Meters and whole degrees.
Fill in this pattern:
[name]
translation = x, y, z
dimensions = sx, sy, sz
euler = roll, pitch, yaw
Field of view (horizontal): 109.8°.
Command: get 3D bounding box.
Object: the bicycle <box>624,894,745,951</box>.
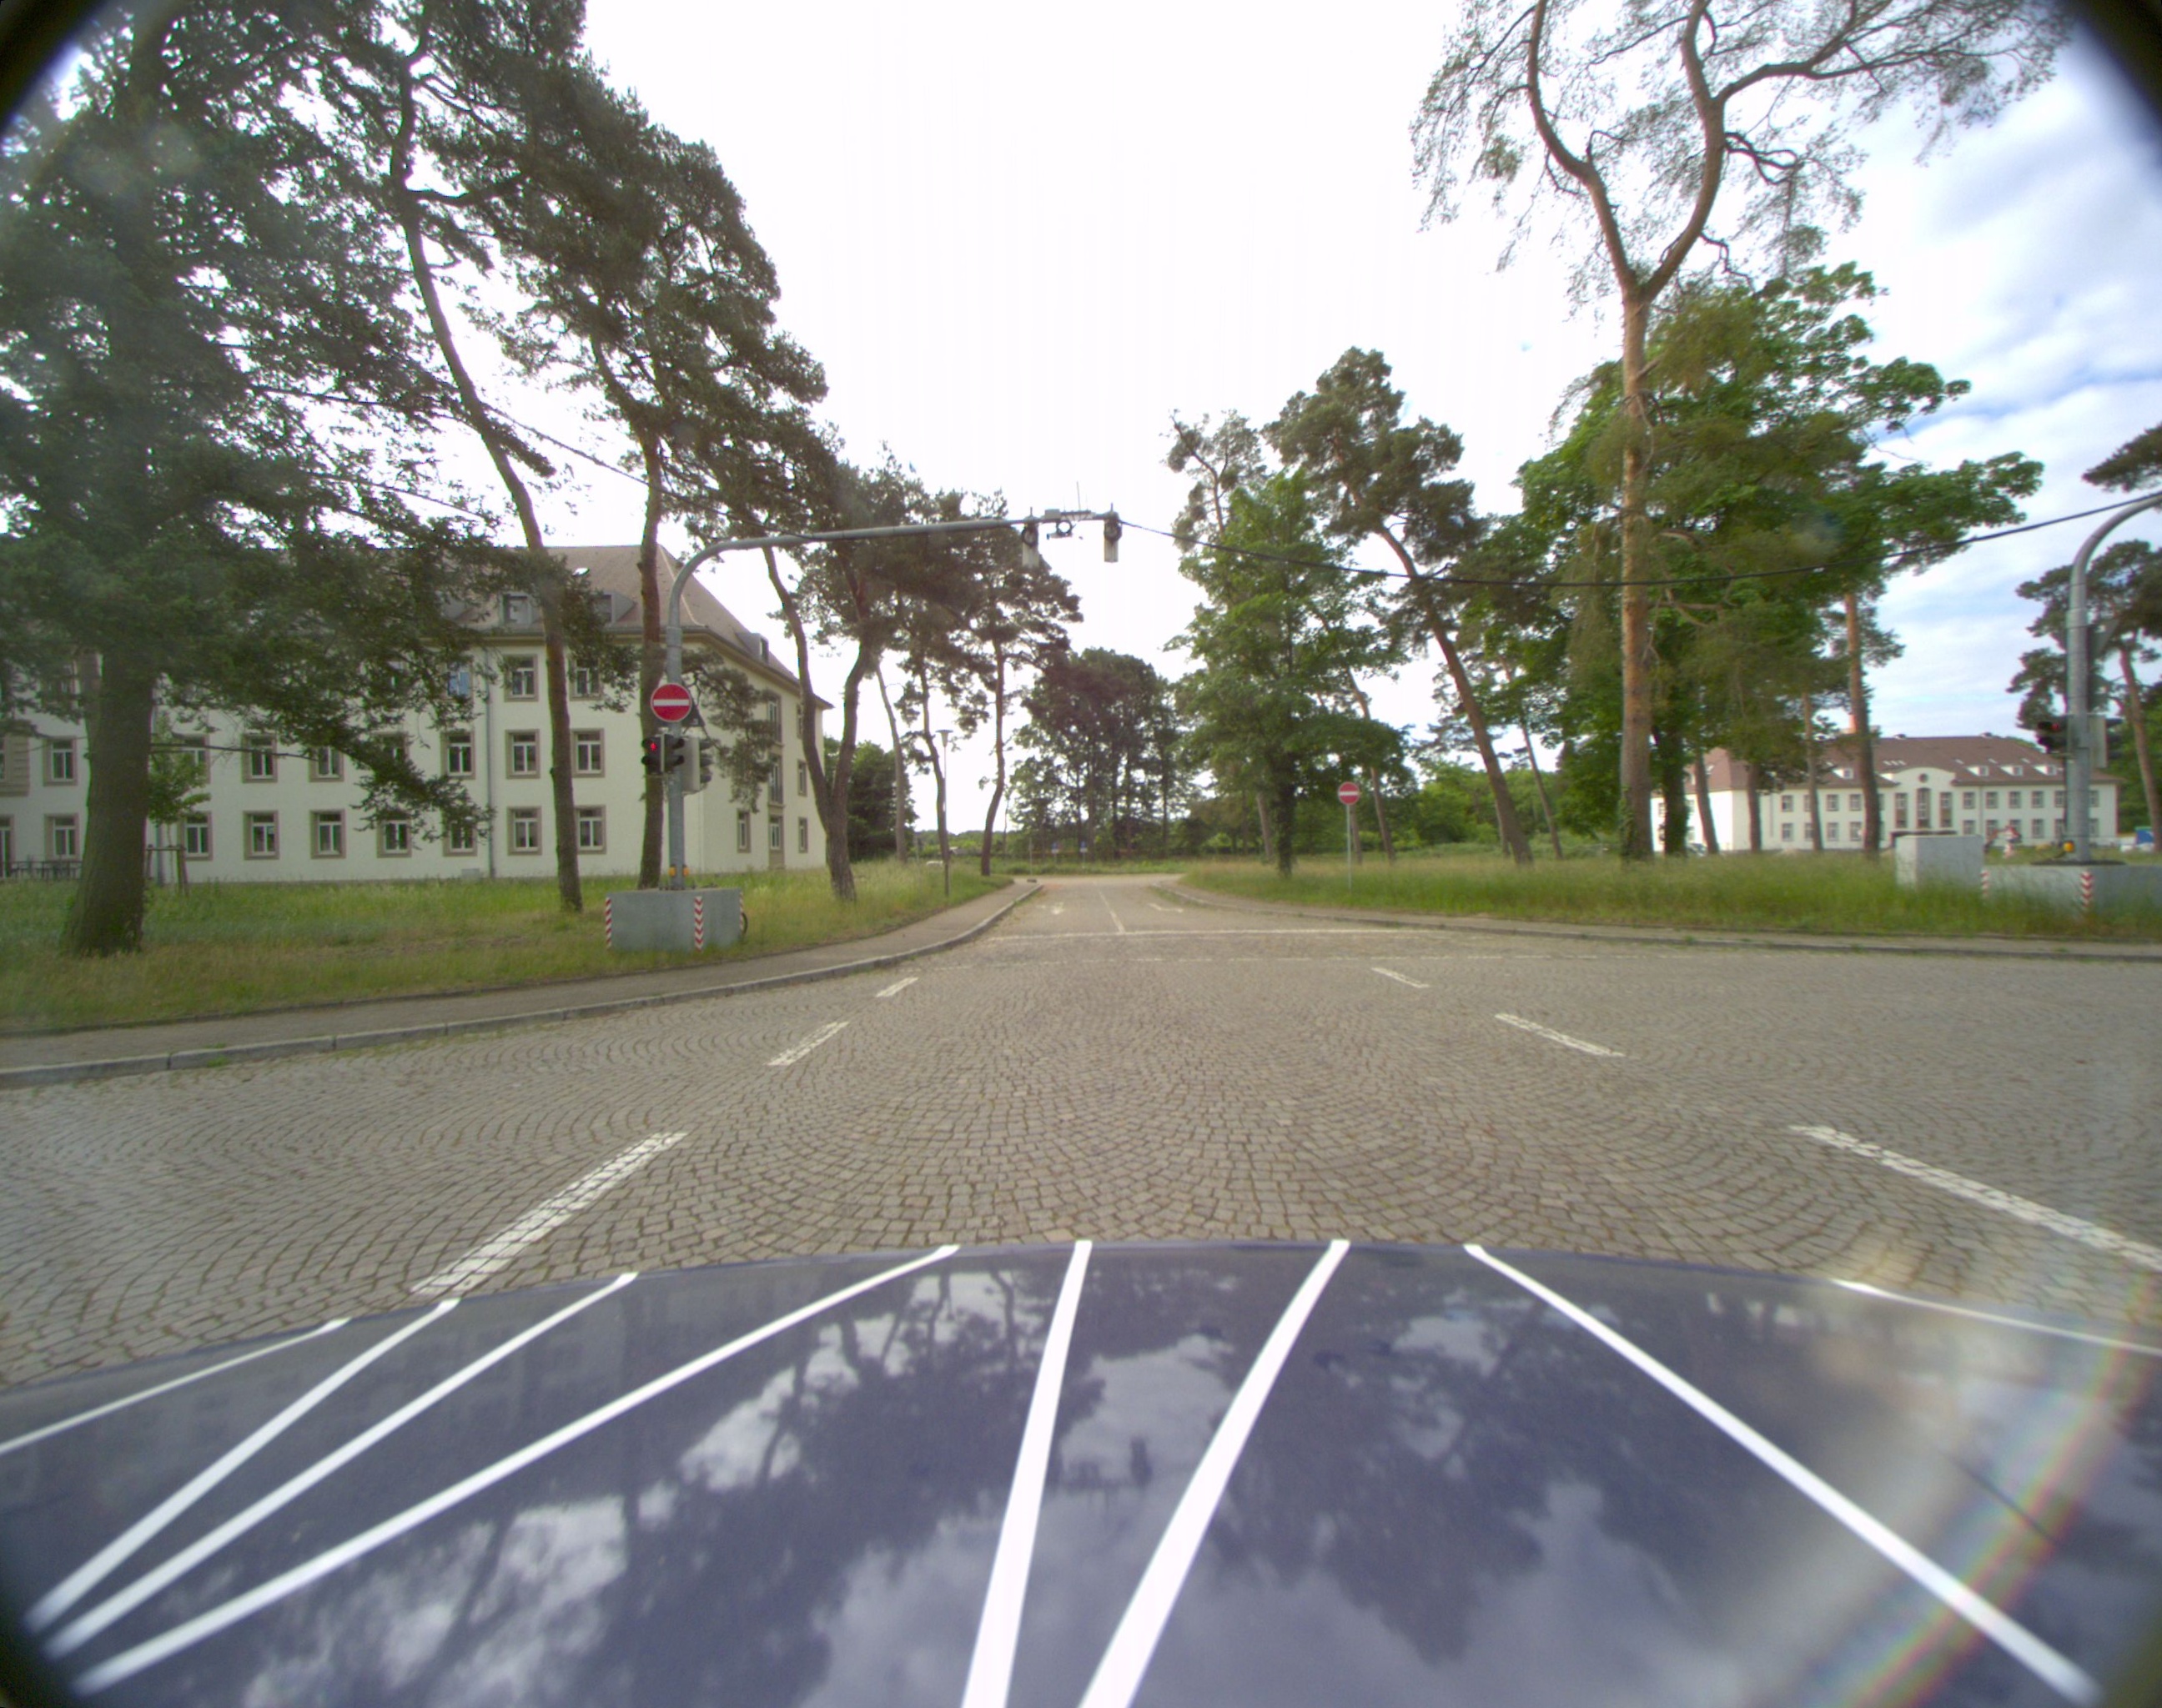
[bicycle]
translation = -6.609, 1.130, 12.696
dimensions = 1.704, 0.869, 0.573
euler = -1, 0, 0

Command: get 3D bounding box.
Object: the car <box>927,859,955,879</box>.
[car]
translation = -11.557, 1.201, 62.777
dimensions = 1.641, 1.426, 3.277
euler = -1, 2, 0
